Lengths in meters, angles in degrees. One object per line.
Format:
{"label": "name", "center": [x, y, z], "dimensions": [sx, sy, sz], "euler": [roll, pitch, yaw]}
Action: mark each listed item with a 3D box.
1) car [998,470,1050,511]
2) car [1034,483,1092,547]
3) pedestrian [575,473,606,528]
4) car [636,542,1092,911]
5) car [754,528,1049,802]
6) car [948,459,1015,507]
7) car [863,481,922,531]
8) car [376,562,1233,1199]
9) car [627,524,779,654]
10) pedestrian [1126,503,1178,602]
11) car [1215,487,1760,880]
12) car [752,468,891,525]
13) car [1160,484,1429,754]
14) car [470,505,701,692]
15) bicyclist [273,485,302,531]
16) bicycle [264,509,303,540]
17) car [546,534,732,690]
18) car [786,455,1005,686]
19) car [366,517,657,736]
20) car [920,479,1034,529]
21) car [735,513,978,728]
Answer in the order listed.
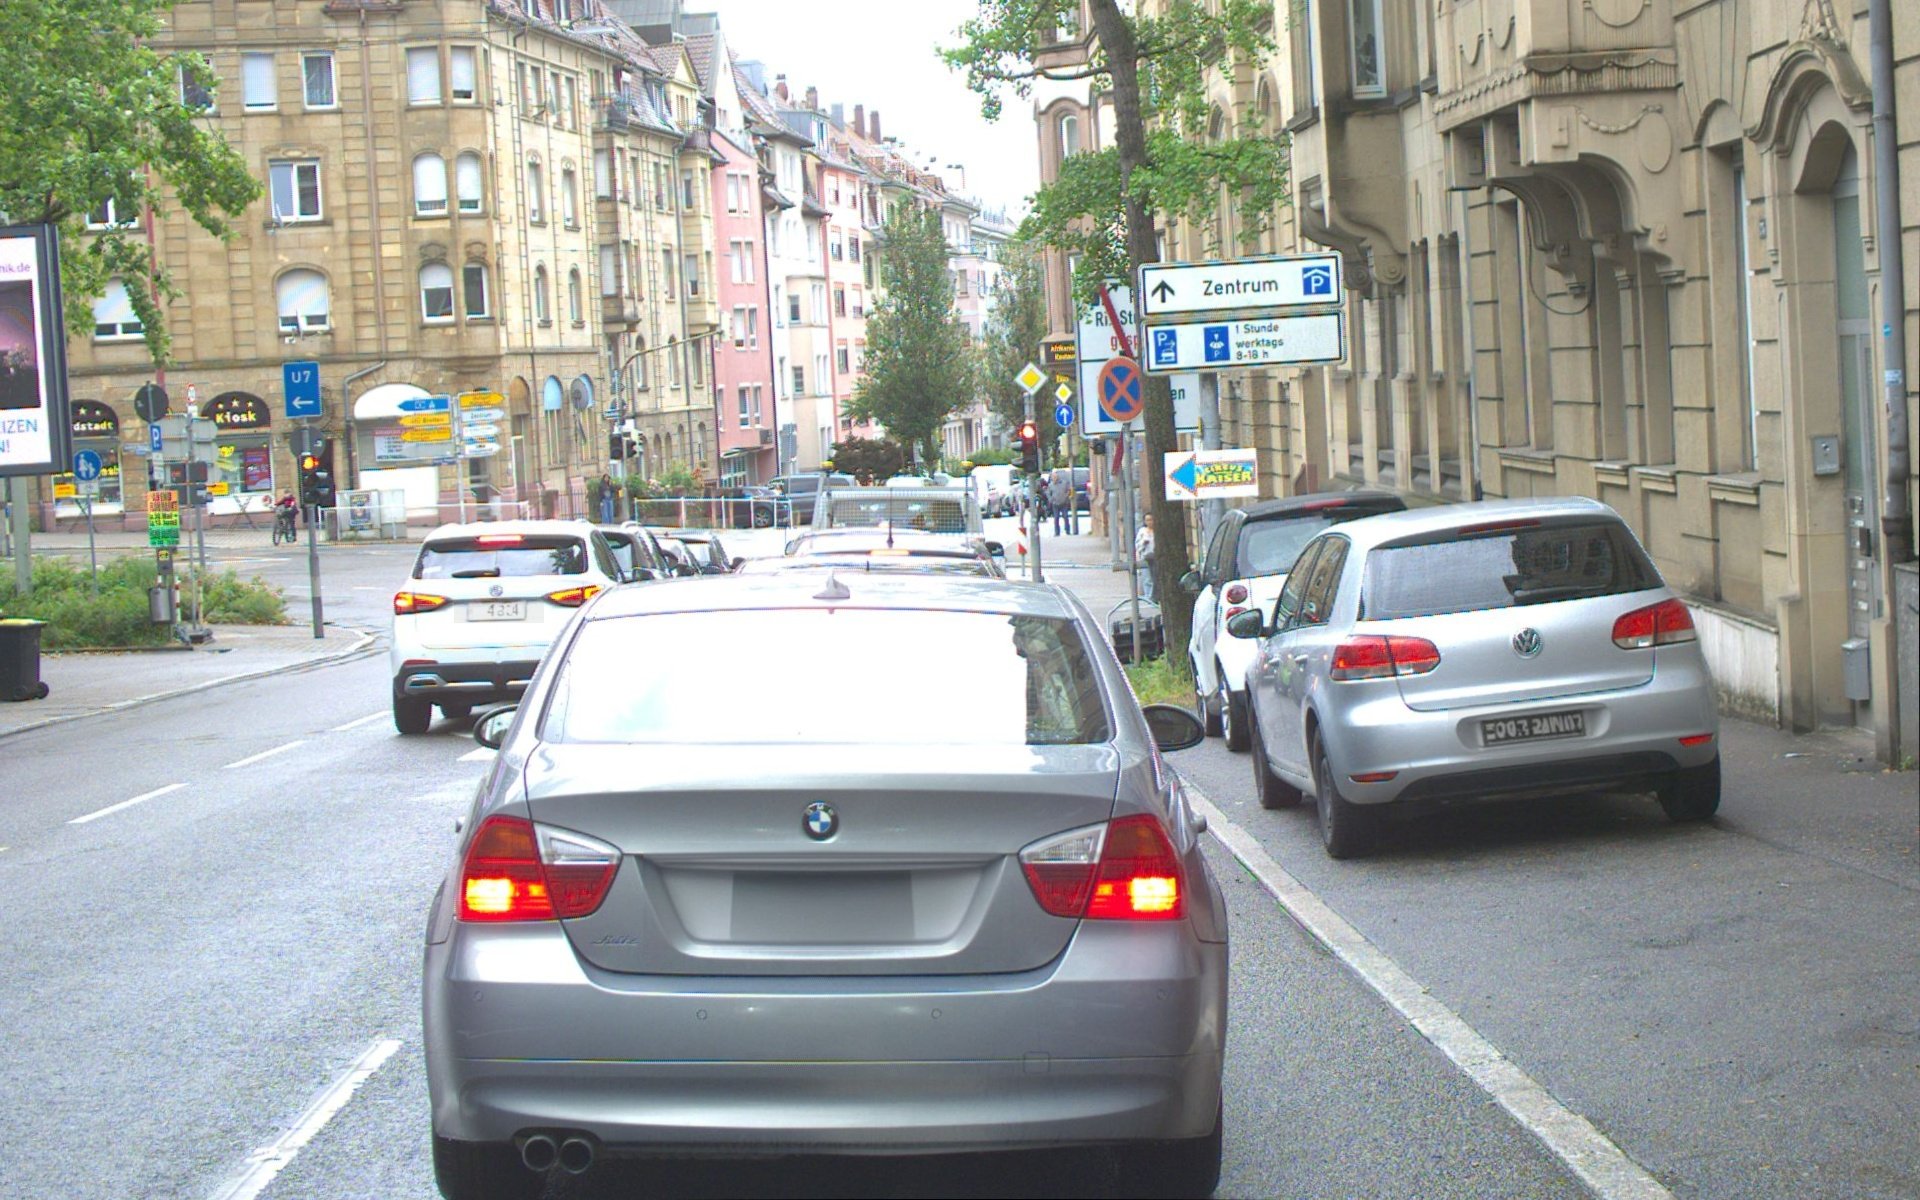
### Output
{"label": "car", "center": [1.971, -3.381, 106.391], "dimensions": [1.434, 1.170, 3.435], "euler": [1, 1, -2]}
{"label": "car", "center": [3.459, -2.866, 115.599], "dimensions": [1.686, 2.006, 4.000], "euler": [-3, 2, -1]}
{"label": "pedestrian", "center": [-10.886, -2.929, 101.269], "dimensions": [0.732, 1.572, 0.528], "euler": [-2, 1, 8]}
{"label": "car", "center": [-0.354, 0.460, 15.388], "dimensions": [1.759, 1.378, 4.000], "euler": [-1, 1, 1]}
{"label": "car", "center": [-0.302, 0.313, 20.782], "dimensions": [1.595, 1.459, 4.000], "euler": [-1, 1, 1]}
{"label": "car", "center": [0.773, -4.083, 120.690], "dimensions": [1.994, 1.573, 3.999], "euler": [1, 1, 5]}
{"label": "car", "center": [-2.053, -2.858, 104.775], "dimensions": [1.715, 1.445, 3.743], "euler": [-2, 1, -1]}
{"label": "car", "center": [-0.279, 0.635, 8.381], "dimensions": [1.623, 1.378, 3.615], "euler": [-1, 1, 1]}
{"label": "car", "center": [-3.534, -0.190, 47.865], "dimensions": [1.759, 1.702, 4.000], "euler": [-1, 1, 1]}
{"label": "pedestrian", "center": [3.069, -0.764, 54.886], "dimensions": [0.631, 1.503, 0.693], "euler": [-6, 1, -1]}
{"label": "car", "center": [2.338, 0.301, 16.249], "dimensions": [1.759, 1.446, 4.000], "euler": [-6, 1, -1]}
{"label": "car", "center": [-5.218, -3.899, 130.027], "dimensions": [5.176, 2.007, 2.699], "euler": [1, 0, -1]}
{"label": "car", "center": [2.158, 0.084, 22.731], "dimensions": [1.299, 1.537, 2.880], "euler": [-6, 1, -1]}
{"label": "car", "center": [-3.603, -0.063, 33.701], "dimensions": [1.759, 1.702, 4.000], "euler": [-1, 1, 1]}
{"label": "bicyclist", "center": [-18.862, -2.575, 96.446], "dimensions": [0.569, 1.268, 0.689], "euler": [1, 0, 11]}
{"label": "bicycle", "center": [-18.919, -2.105, 96.130], "dimensions": [0.573, 0.855, 1.521], "euler": [1, 1, 9]}
{"label": "car", "center": [-3.730, 0.101, 40.521], "dimensions": [1.759, 1.702, 4.000], "euler": [-1, 1, 1]}
{"label": "car", "center": [-0.611, -0.304, 33.484], "dimensions": [1.993, 2.099, 4.000], "euler": [0, 1, -1]}
{"label": "car", "center": [-3.539, 0.153, 27.789], "dimensions": [1.868, 1.620, 4.000], "euler": [-1, 1, -1]}
{"label": "car", "center": [0.585, -3.176, 114.070], "dimensions": [1.997, 1.573, 3.993], "euler": [1, 1, 32]}
{"label": "car", "center": [-0.751, 0.104, 27.346], "dimensions": [1.759, 1.562, 4.000], "euler": [-1, 1, 1]}
